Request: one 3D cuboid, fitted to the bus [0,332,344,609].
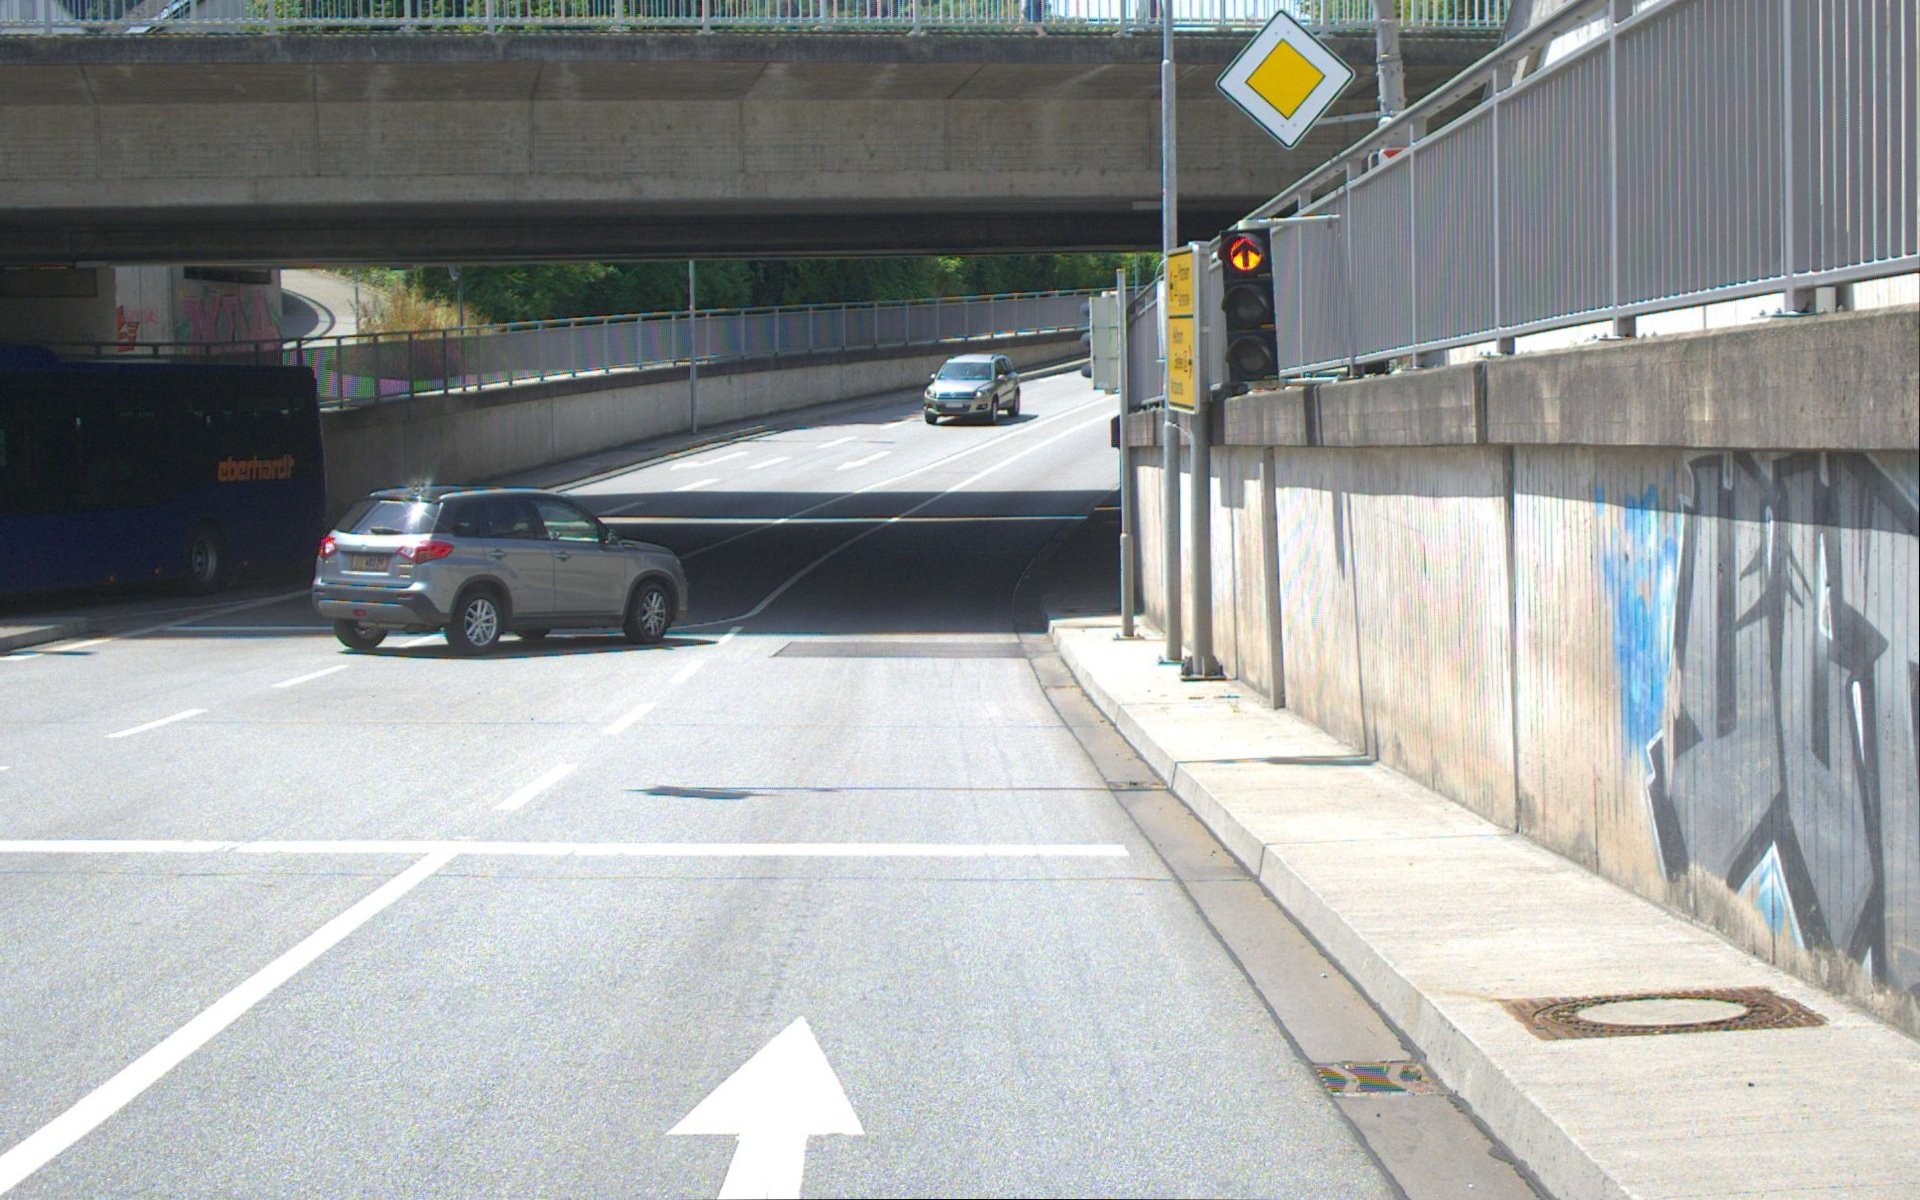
[{"bbox_3d":[-11.564,-1.641,41.768,2.583,3.161,12.368,1,4,17],"label":"bus"}]

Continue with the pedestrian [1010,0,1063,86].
[{"bbox_3d":[0.906,-7.227,41.175,0.539,2.074,0.535,-1,2,-7],"label":"pedestrian"}]

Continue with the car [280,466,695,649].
[{"bbox_3d":[-4.632,-0.478,34.213,1.808,1.612,3.992,3,4,37],"label":"car"}]

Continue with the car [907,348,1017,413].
[{"bbox_3d":[0.075,-5.628,88.216,1.995,1.621,3.999,1,4,13],"label":"car"}]
